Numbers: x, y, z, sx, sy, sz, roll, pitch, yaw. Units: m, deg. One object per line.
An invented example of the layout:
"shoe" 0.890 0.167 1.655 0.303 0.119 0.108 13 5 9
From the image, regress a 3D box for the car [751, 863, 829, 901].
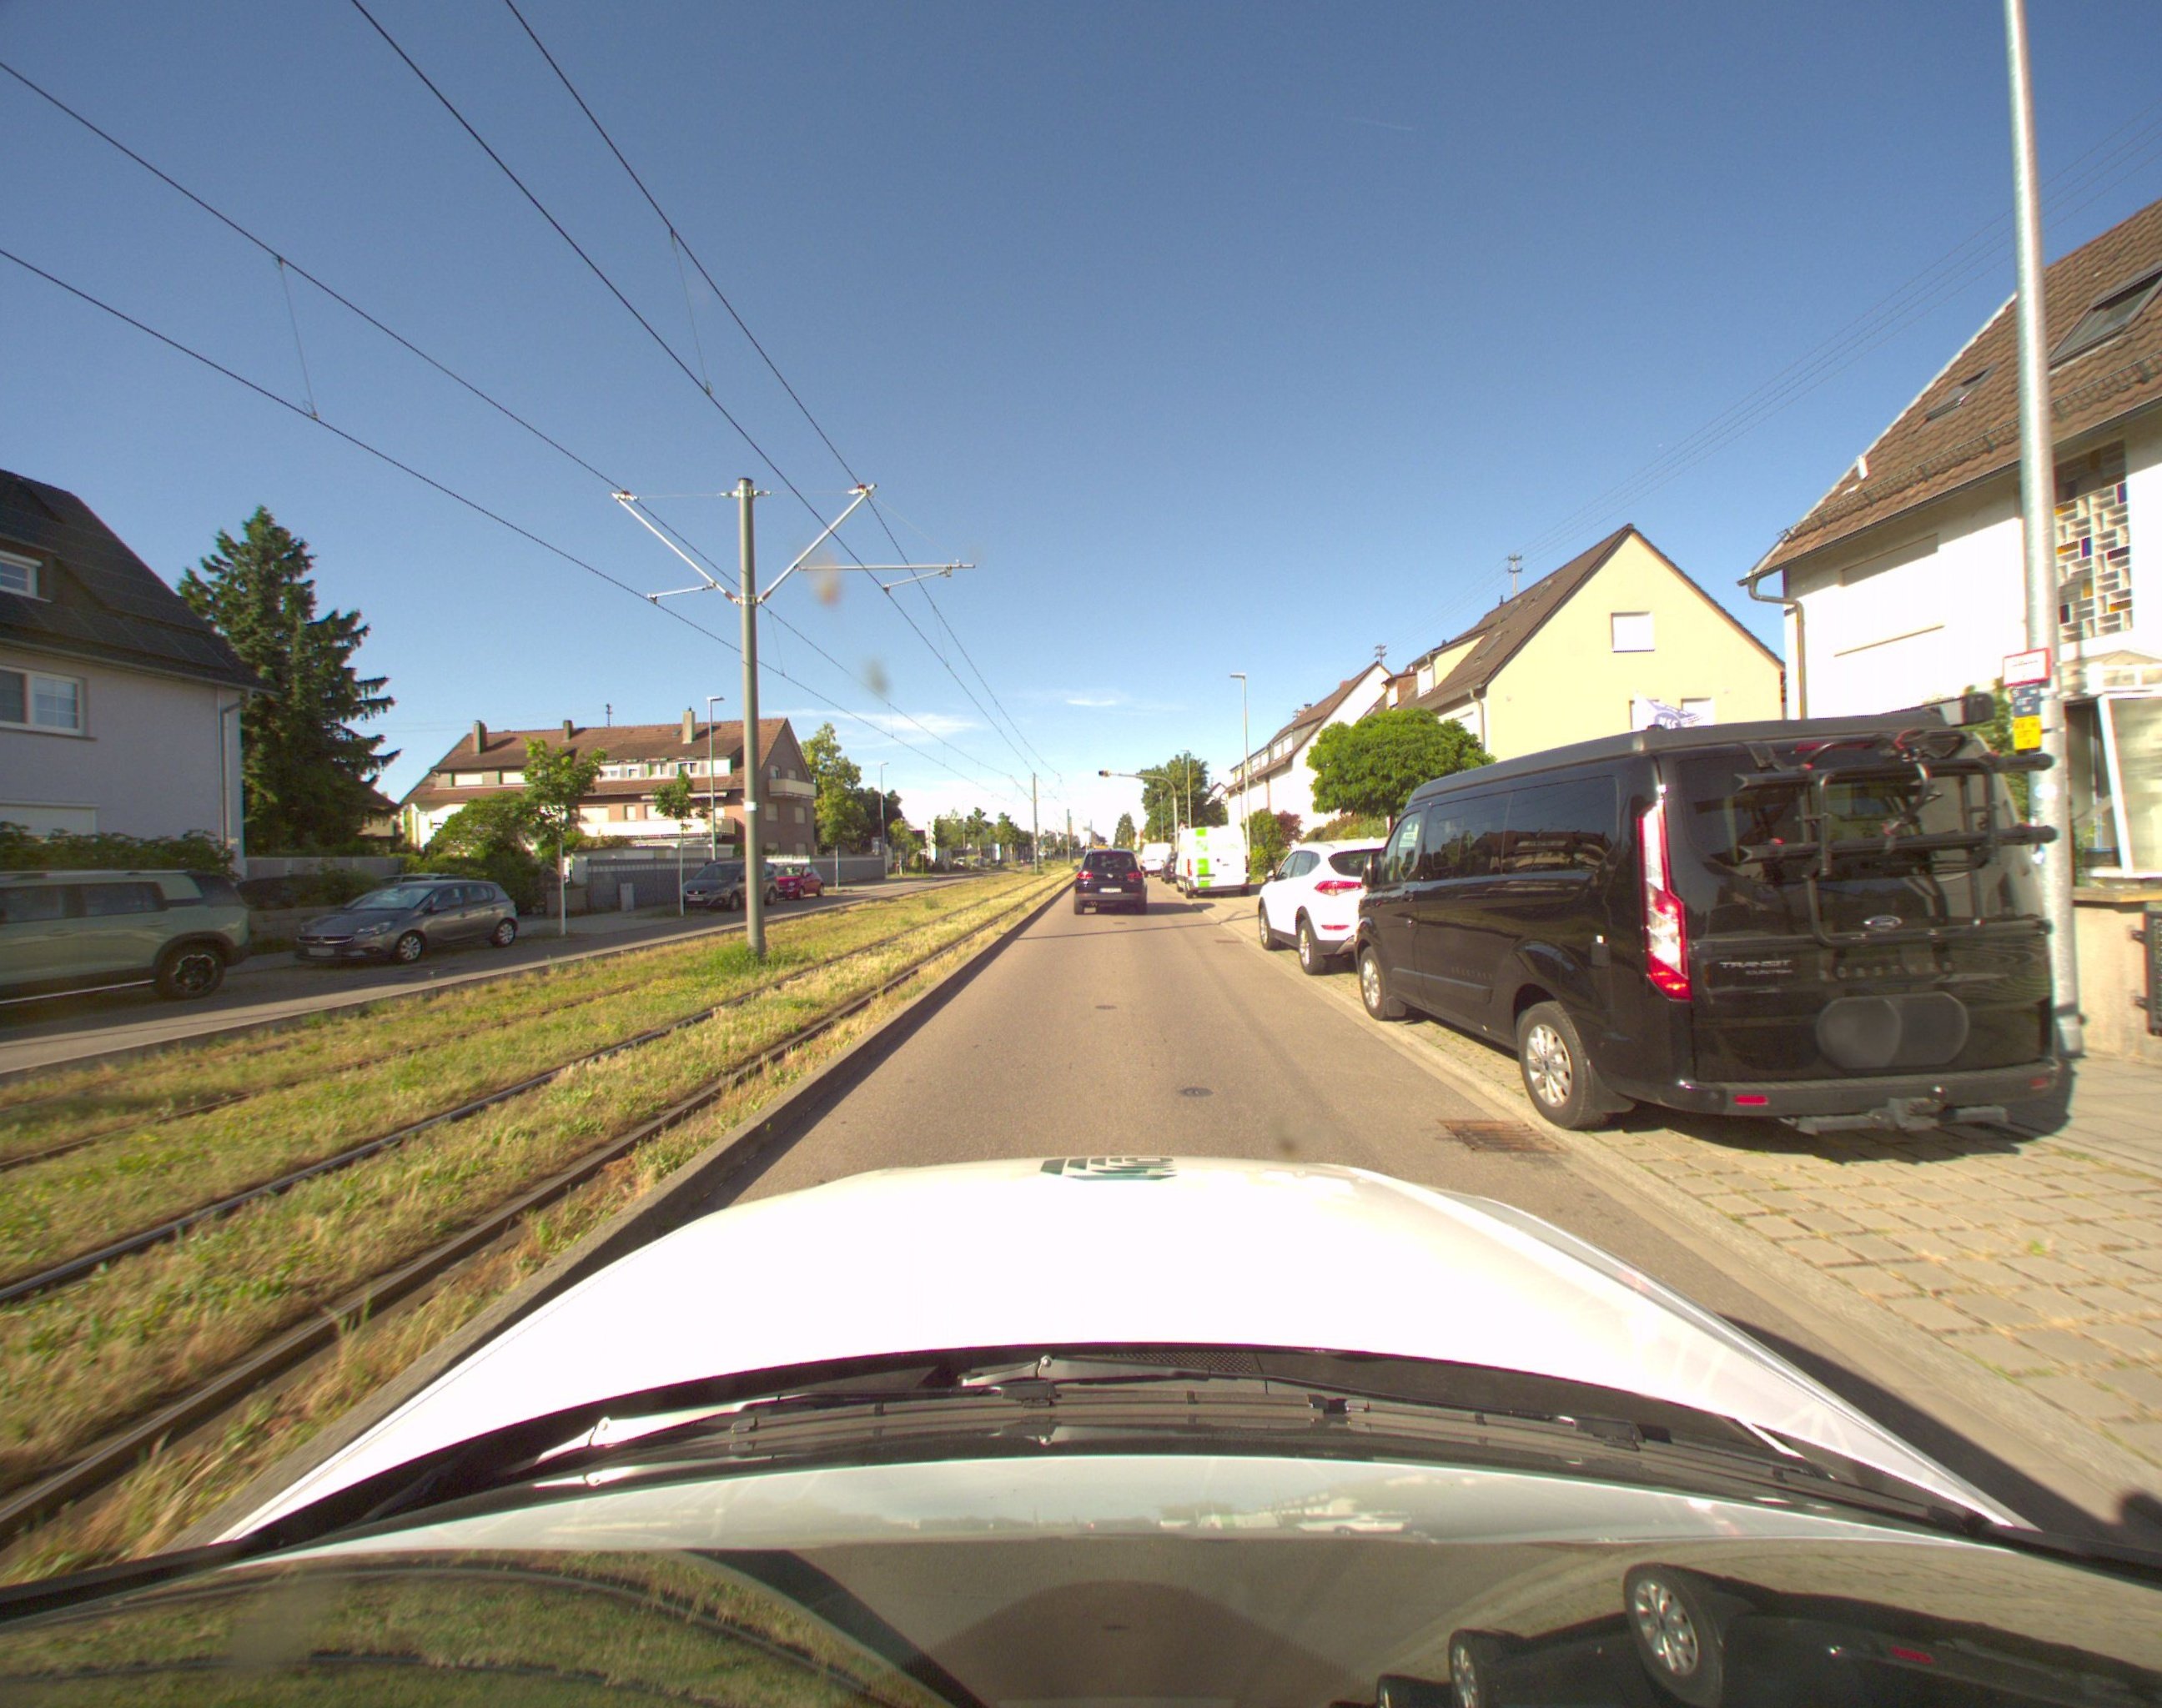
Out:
"car" -12.416 1.174 35.015 1.688 1.405 4.081 -2 0 2

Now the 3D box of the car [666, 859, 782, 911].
"car" -12.562 1.030 29.028 1.812 1.684 4.849 0 0 2

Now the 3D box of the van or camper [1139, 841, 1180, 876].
"van or camper" 4.839 0.231 49.328 2.015 1.956 5.310 -2 0 10

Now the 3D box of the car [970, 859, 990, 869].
"car" -14.265 1.408 114.888 1.801 1.461 4.325 0 0 6

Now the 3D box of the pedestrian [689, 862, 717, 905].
"pedestrian" -14.789 1.154 31.877 0.693 1.640 0.920 0 0 0

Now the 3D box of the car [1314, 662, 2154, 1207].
"car" 3.430 0.334 6.010 1.952 2.144 5.337 -3 0 2

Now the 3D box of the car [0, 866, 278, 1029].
"car" -13.257 1.095 10.066 1.738 1.823 4.843 0 0 2

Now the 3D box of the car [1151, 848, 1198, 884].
"car" 4.386 0.559 38.822 1.742 1.494 5.158 -3 0 2

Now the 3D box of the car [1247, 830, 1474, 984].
"car" 3.592 0.601 11.354 1.719 1.645 4.320 -3 0 2

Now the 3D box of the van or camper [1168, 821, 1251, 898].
"van or camper" 4.332 0.186 28.480 1.986 2.271 6.308 -3 0 2

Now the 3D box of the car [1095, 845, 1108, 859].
"car" 4.197 -0.398 166.213 2.385 2.564 5.533 -2 0 3

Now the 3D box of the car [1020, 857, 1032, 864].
"car" -11.546 1.423 171.151 1.681 1.389 4.392 -4 0 4

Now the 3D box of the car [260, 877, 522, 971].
"car" -13.176 1.248 15.936 1.671 1.491 4.049 0 0 0

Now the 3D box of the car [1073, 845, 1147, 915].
"car" 0.702 0.638 21.595 1.770 1.670 3.999 0 0 0

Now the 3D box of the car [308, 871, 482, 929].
"car" -19.704 1.293 23.485 3.597 1.473 1.707 -2 0 3

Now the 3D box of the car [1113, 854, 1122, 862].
"car" 8.594 0.908 192.413 1.770 1.670 3.999 -2 0 0
